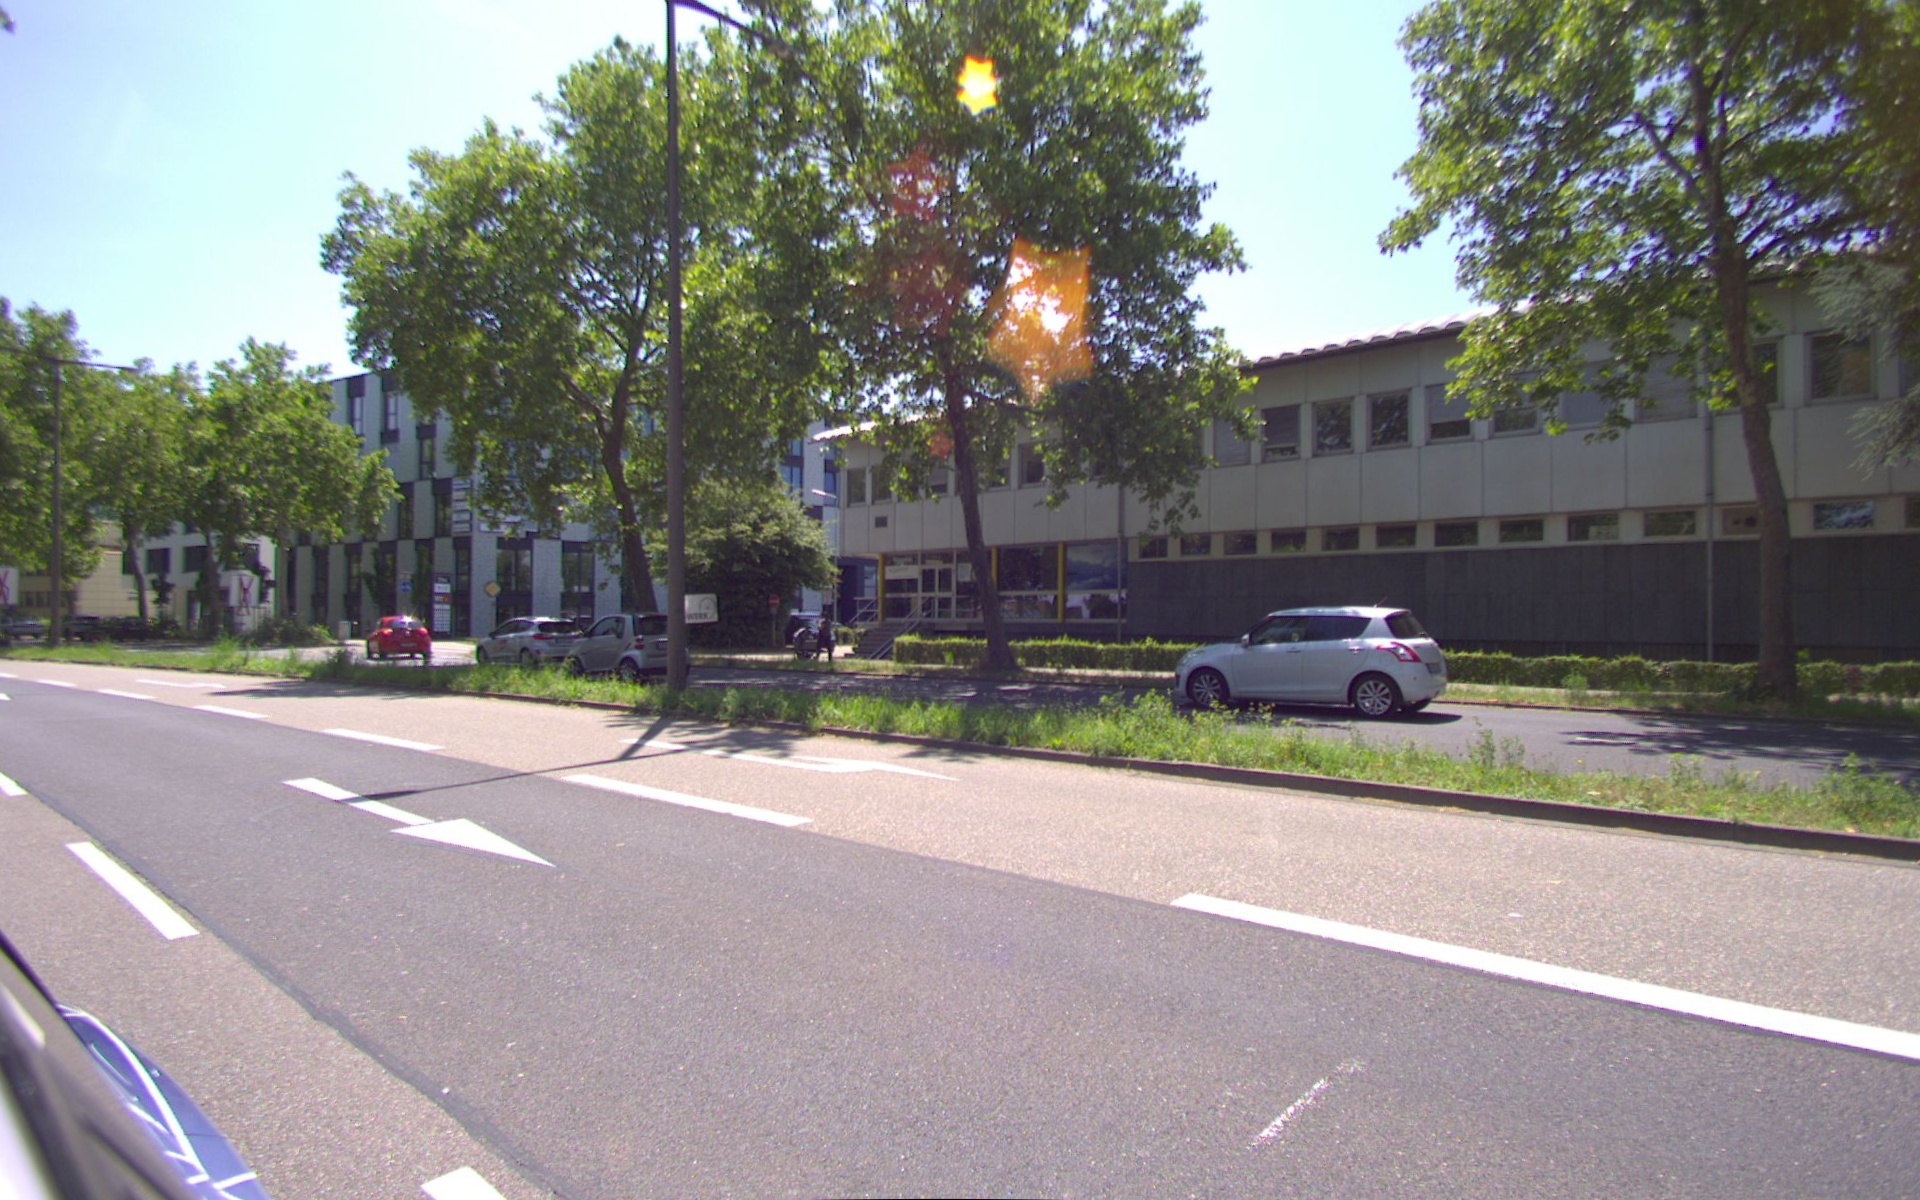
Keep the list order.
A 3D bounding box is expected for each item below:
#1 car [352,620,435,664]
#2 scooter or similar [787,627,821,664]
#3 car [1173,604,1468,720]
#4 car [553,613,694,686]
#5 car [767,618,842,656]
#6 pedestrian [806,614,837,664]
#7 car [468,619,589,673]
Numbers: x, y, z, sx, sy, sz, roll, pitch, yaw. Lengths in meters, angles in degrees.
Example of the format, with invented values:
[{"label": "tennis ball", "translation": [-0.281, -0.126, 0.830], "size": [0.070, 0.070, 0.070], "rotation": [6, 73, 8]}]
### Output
[{"label": "car", "translation": [-20.284, 1.479, 36.173], "size": [3.531, 1.472, 1.653], "rotation": [-2, -2, 44]}, {"label": "scooter or similar", "translation": [-5.042, 1.445, 32.679], "size": [0.858, 1.172, 0.671], "rotation": [-1, -2, 39]}, {"label": "car", "translation": [5.138, 0.832, 14.659], "size": [3.672, 1.470, 1.713], "rotation": [-1, -2, 41]}, {"label": "car", "translation": [-7.553, 1.074, 22.706], "size": [2.844, 1.540, 1.521], "rotation": [-1, -2, 31]}, {"label": "car", "translation": [-7.457, 1.734, 48.345], "size": [3.528, 1.660, 1.795], "rotation": [-1, 0, 44]}, {"label": "pedestrian", "translation": [-4.402, 1.234, 32.145], "size": [0.790, 1.572, 0.635], "rotation": [-1, -2, 39]}, {"label": "car", "translation": [-12.424, 1.287, 29.045], "size": [3.669, 1.454, 1.733], "rotation": [-1, -2, 40]}]
